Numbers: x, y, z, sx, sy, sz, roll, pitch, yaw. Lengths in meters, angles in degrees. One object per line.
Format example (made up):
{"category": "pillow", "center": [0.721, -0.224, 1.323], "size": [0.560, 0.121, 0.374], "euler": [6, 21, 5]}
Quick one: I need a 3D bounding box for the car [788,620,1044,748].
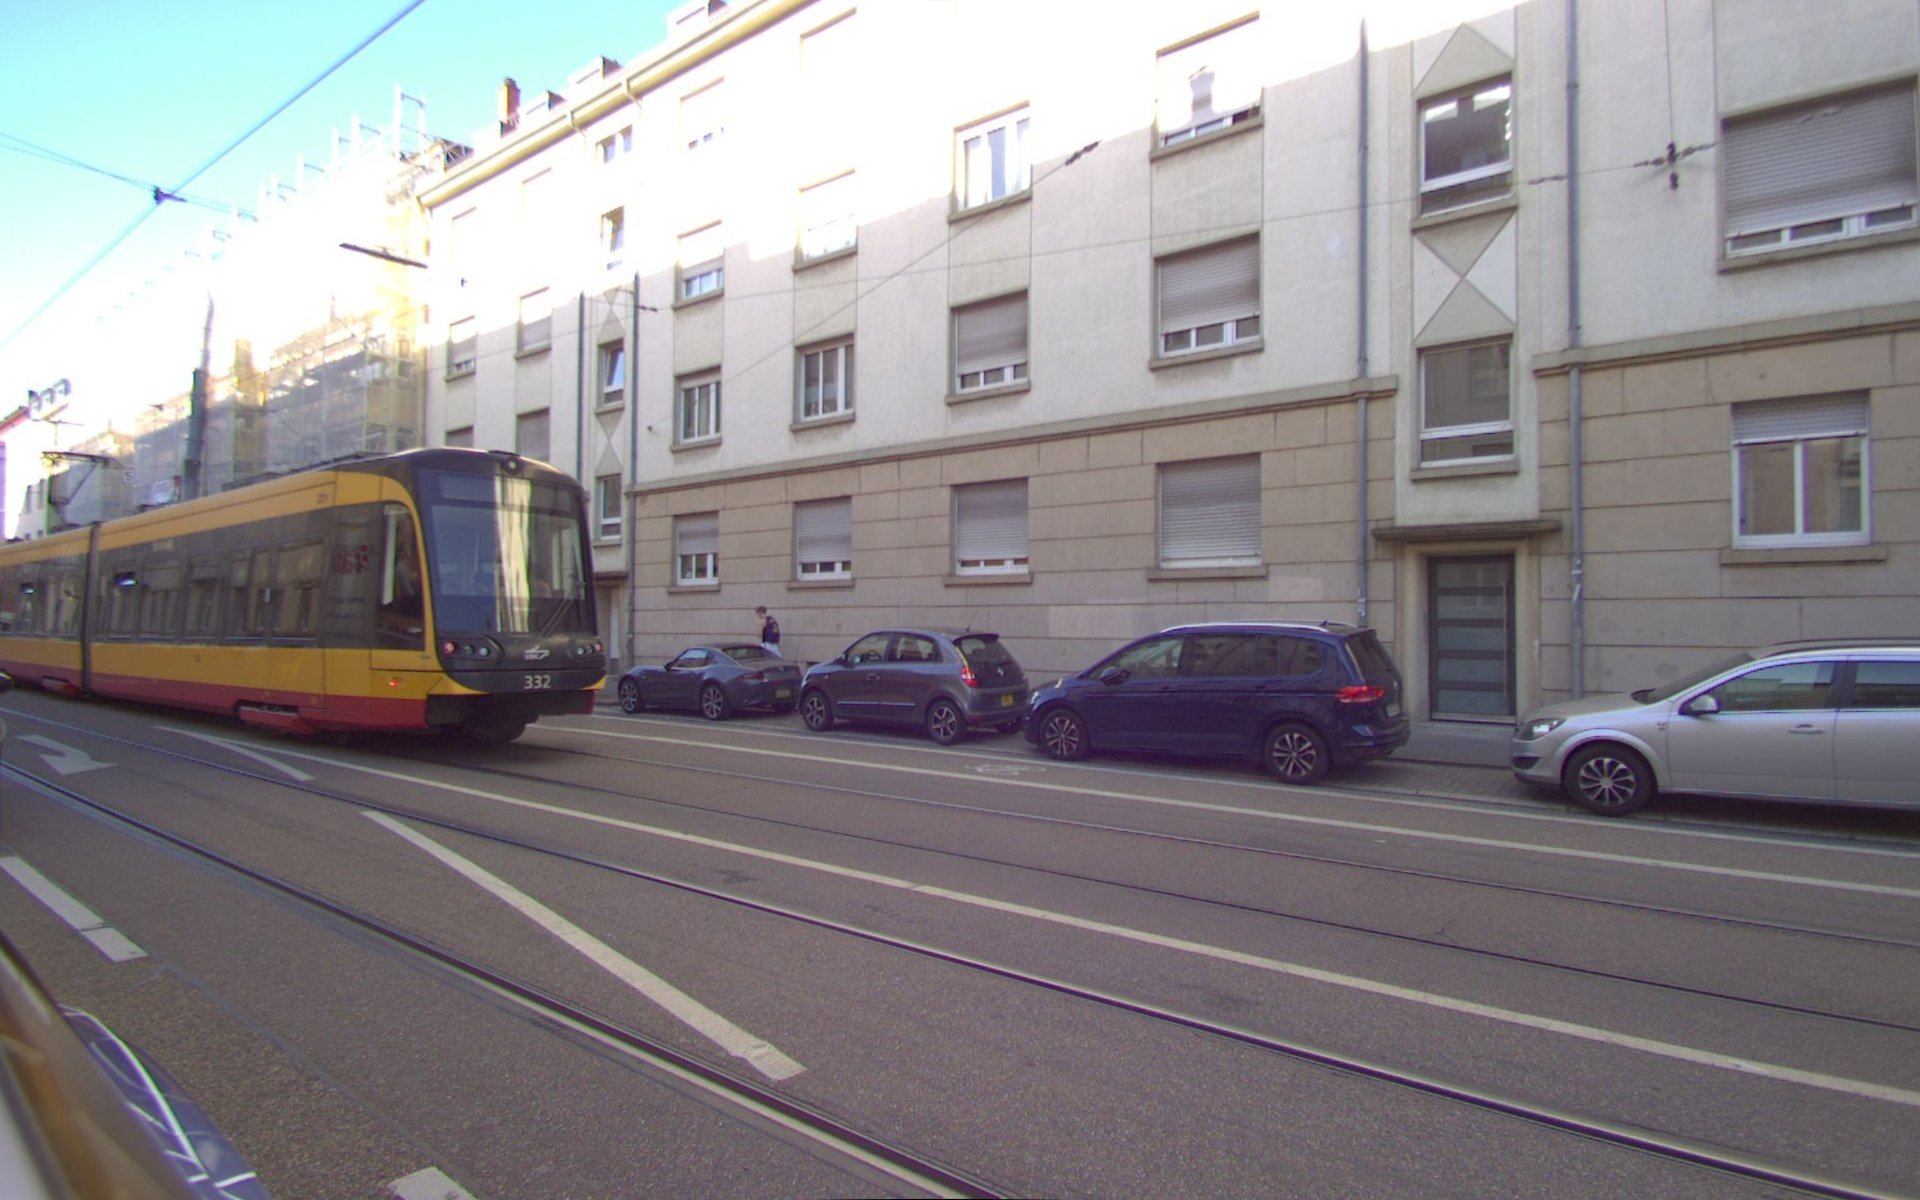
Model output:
{"category": "car", "center": [-0.693, 1.111, 14.690], "size": [3.493, 1.584, 1.650], "euler": [-1, 0, 38]}

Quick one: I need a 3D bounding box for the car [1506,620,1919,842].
{"category": "car", "center": [7.218, 0.987, 8.529], "size": [4.358, 1.571, 1.975], "euler": [-1, 0, 38]}

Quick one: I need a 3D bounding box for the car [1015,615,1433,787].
{"category": "car", "center": [2.941, 0.999, 11.691], "size": [4.285, 1.597, 1.887], "euler": [-1, 0, 37]}

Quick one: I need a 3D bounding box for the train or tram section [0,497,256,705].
{"category": "train or tram section", "center": [-18.343, 0.060, 21.712], "size": [9.072, 3.658, 2.798], "euler": [-1, 0, 38]}

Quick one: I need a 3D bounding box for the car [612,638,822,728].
{"category": "car", "center": [-4.256, 1.359, 17.543], "size": [3.483, 1.286, 1.730], "euler": [-1, 0, 37]}

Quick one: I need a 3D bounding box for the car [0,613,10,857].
{"category": "car", "center": [-8.018, 0.855, 6.978], "size": [3.997, 1.515, 1.670], "euler": [-1, -3, 40]}

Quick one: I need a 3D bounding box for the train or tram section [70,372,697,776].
{"category": "train or tram section", "center": [-9.381, -0.178, 14.659], "size": [14.245, 3.659, 2.718], "euler": [-1, 0, 38]}

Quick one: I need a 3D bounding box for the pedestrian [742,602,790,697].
{"category": "pedestrian", "center": [-3.902, 0.978, 20.367], "size": [0.733, 1.846, 0.592], "euler": [-1, 0, 40]}

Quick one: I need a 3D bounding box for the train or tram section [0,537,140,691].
{"category": "train or tram section", "center": [-26.840, 0.448, 28.493], "size": [12.613, 3.621, 3.032], "euler": [-1, -3, 38]}
